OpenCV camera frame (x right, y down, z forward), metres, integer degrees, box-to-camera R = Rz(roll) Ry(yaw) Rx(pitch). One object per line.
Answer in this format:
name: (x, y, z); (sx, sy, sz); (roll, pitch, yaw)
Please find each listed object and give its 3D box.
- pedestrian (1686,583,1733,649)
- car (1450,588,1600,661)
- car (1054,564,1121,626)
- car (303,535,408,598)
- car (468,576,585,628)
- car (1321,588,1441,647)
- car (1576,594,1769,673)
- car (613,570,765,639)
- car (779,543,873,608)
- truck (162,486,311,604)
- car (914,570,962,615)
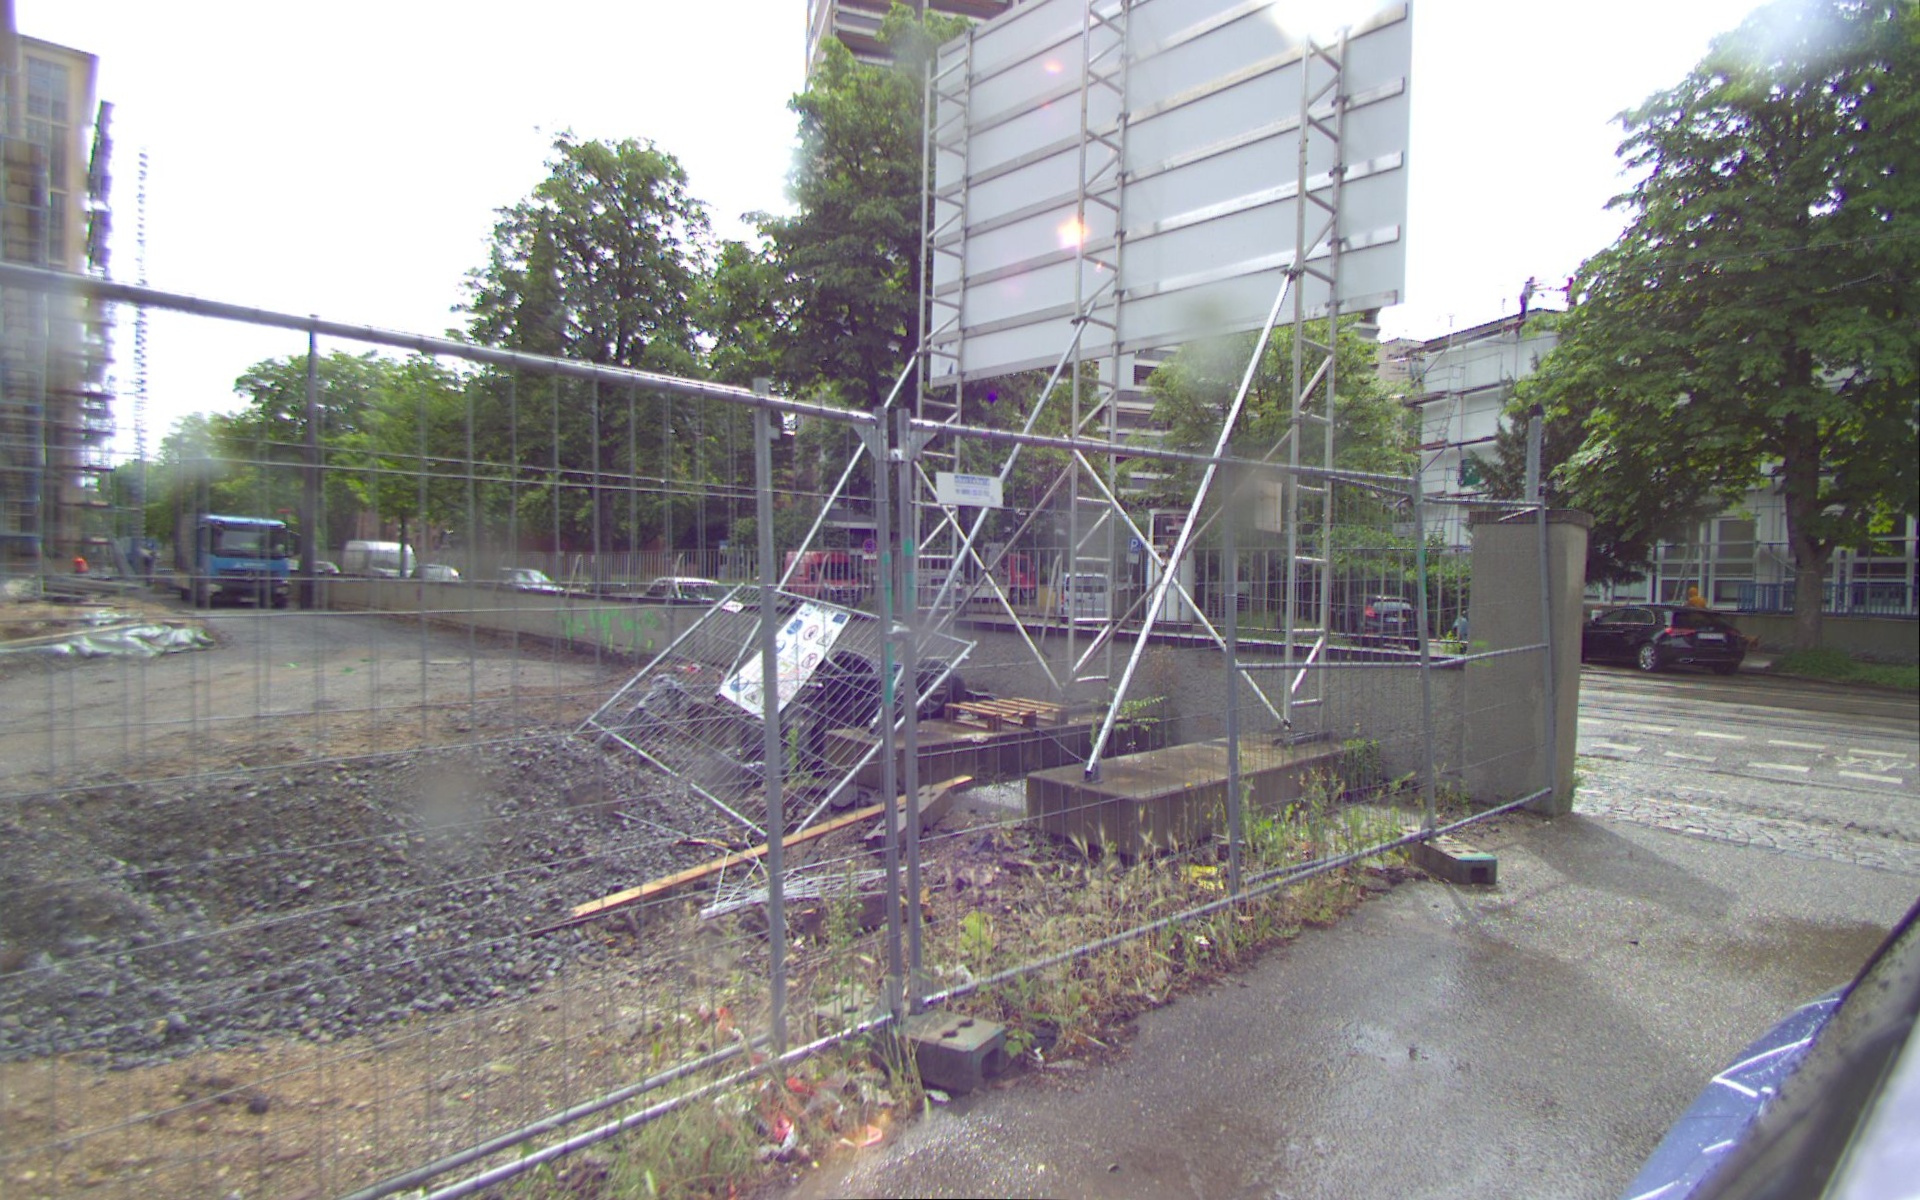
pedestrian: (20.813, 0.445, 28.118); (0.695, 1.765, 0.838); (2, -1, 6)
car: (13.611, 0.533, 24.626); (1.677, 1.570, 3.647); (2, 1, 3)
car: (4.323, -0.207, 34.987); (1.903, 1.920, 4.641); (2, 1, 3)
car: (-26.911, -1.432, 44.934); (2.554, 2.505, 6.137); (3, -1, -44)
car: (-13.588, 0.037, 31.640); (3.985, 1.489, 1.861); (2, -1, 42)
car: (11.441, 0.427, 27.765); (1.736, 1.414, 3.650); (2, 1, 0)
car: (15.566, 0.663, 22.354); (1.710, 1.488, 3.648); (2, 1, 2)
car: (-6.504, 0.090, 24.073); (1.857, 1.489, 3.993); (3, -1, -42)
car: (-6.127, -1.140, 45.698); (2.255, 2.666, 5.491); (2, 1, -29)
truck: (-26.038, -1.787, 36.162); (3.186, 3.572, 9.893); (3, -1, -42)
car: (-0.839, -0.336, 40.723); (1.752, 1.584, 4.047); (2, 3, 1)
